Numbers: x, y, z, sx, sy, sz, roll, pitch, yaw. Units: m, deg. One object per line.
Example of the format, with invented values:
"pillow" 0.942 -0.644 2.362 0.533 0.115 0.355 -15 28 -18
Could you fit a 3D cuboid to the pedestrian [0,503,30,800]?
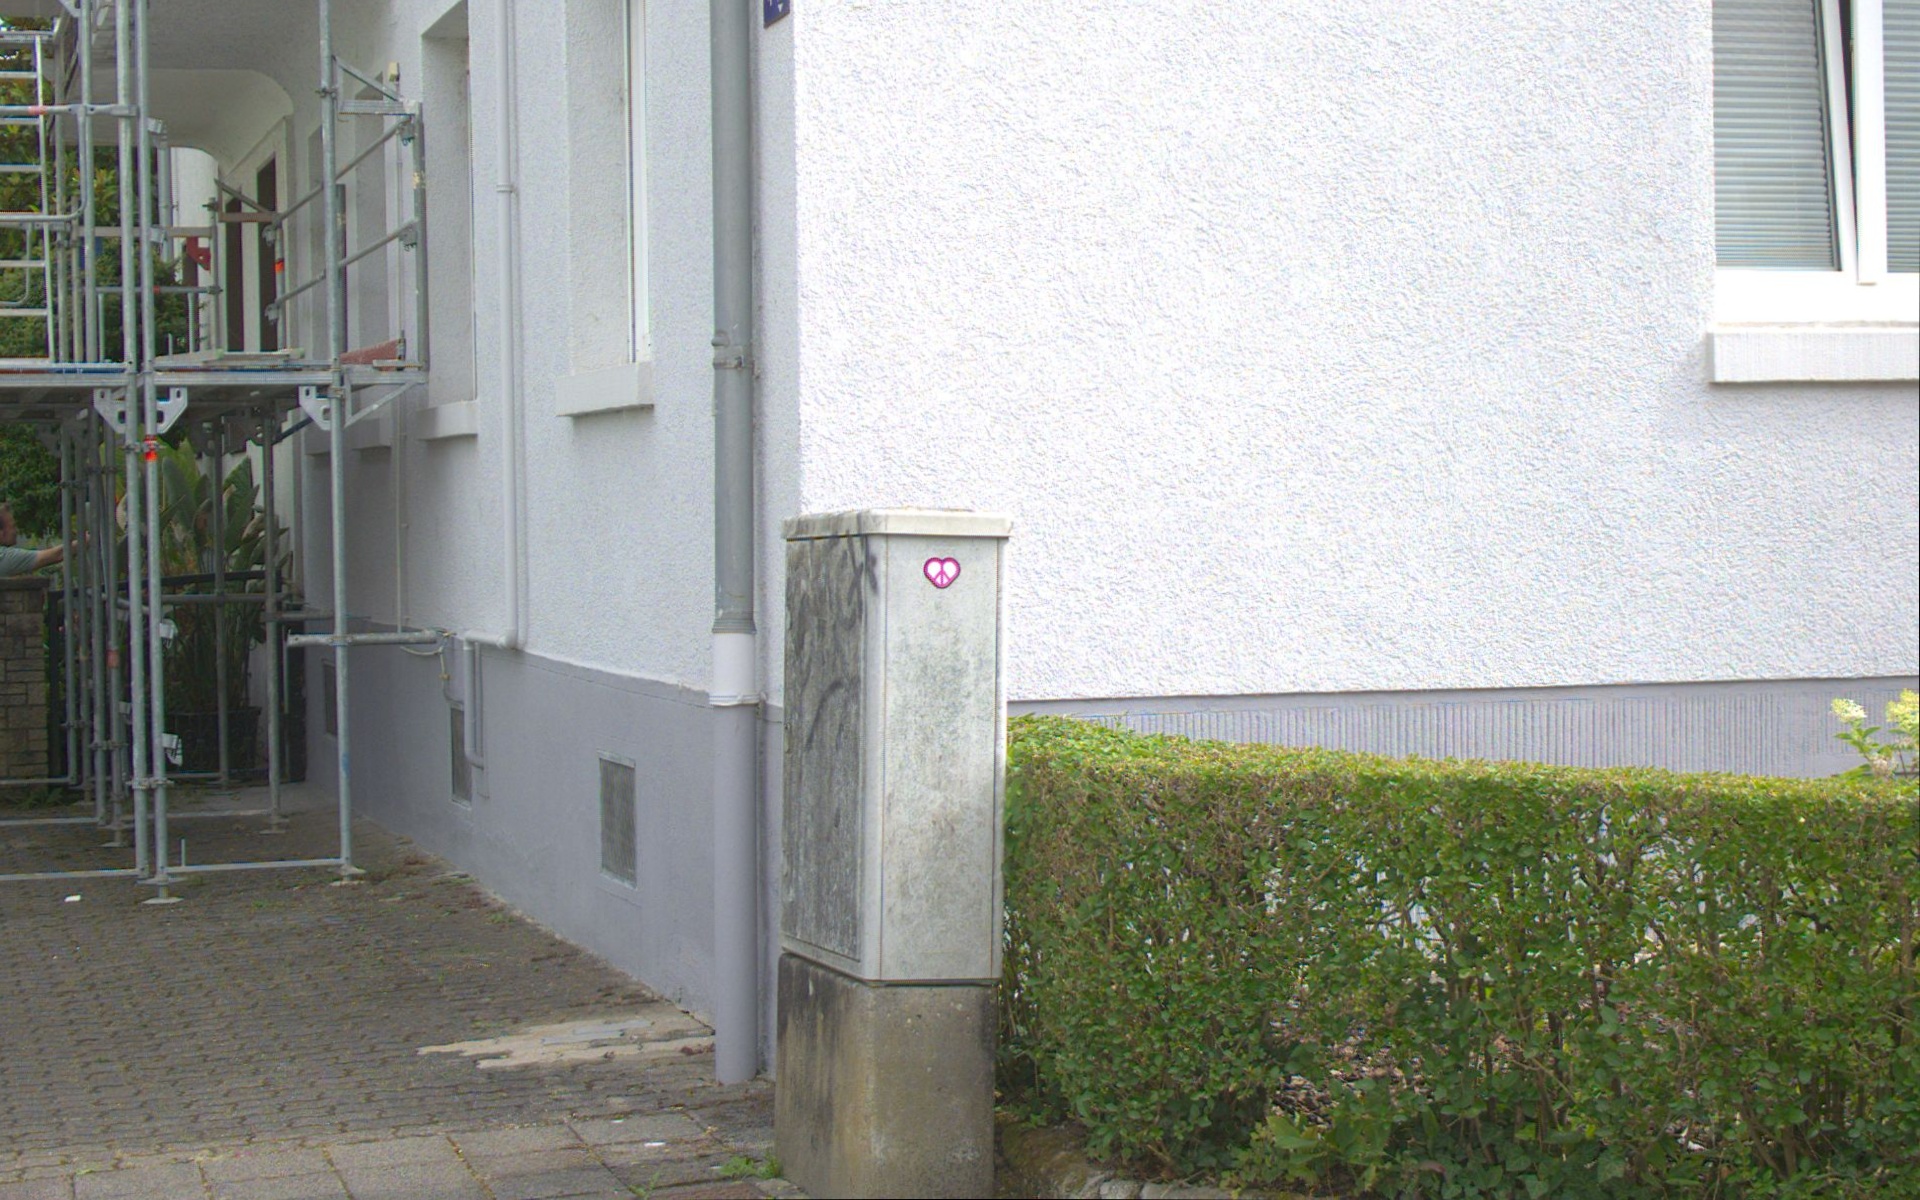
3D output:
"pedestrian" -5.496 0.287 19.065 0.601 1.623 0.625 -2 0 -16
